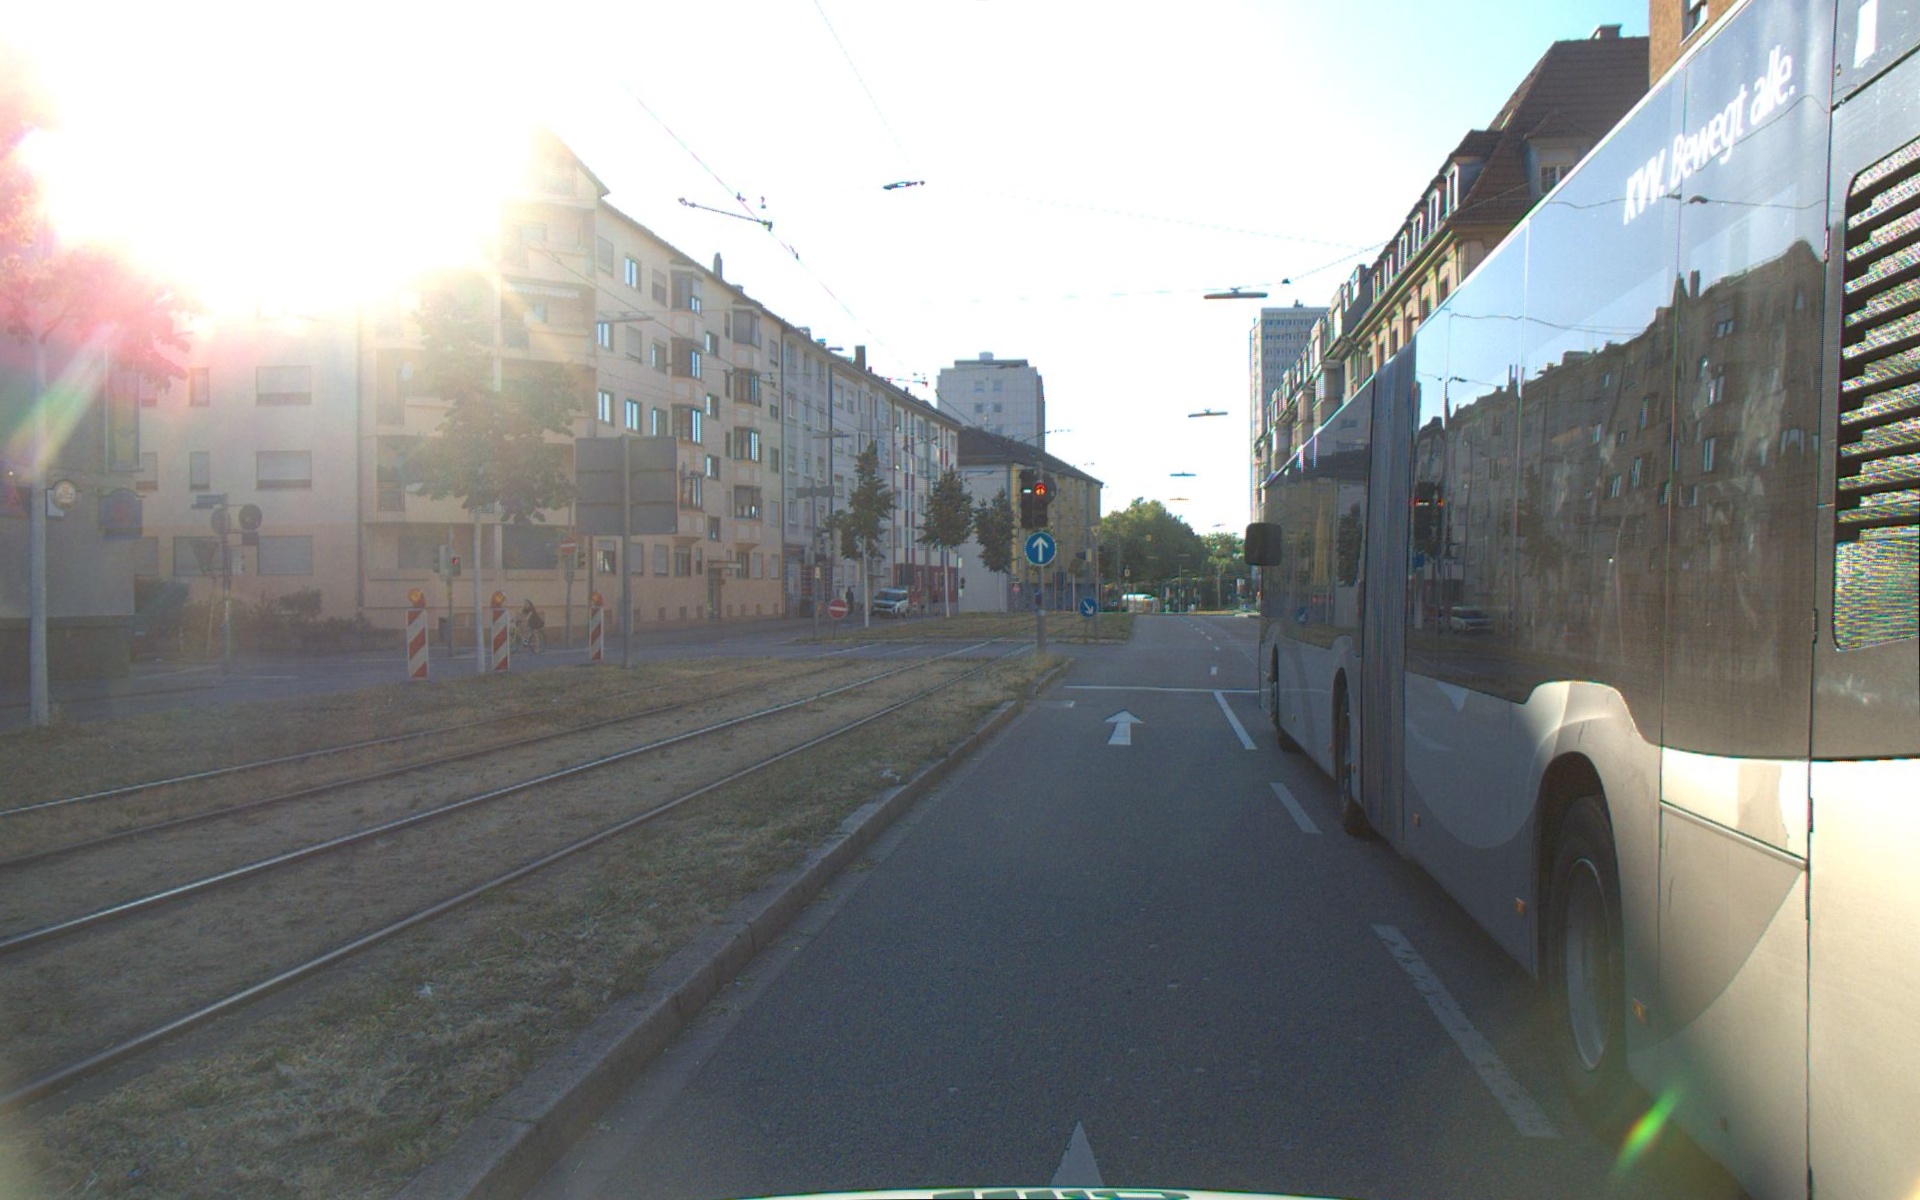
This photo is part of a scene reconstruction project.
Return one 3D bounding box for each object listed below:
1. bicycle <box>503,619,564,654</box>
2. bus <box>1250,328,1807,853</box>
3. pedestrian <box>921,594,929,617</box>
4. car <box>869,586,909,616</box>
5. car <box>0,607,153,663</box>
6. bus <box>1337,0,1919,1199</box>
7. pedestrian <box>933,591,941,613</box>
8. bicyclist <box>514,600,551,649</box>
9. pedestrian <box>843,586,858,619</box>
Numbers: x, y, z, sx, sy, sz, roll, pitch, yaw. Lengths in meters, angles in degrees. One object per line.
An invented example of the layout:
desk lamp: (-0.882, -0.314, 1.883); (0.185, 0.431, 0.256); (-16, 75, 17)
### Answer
bicycle: (-12.959, 1.095, 50.320); (0.519, 1.001, 1.875); (-1, 0, 37)
bus: (4.184, -0.100, 14.481); (2.680, 3.109, 9.138); (1, 0, 7)
pedestrian: (-2.624, 0.420, 123.918); (0.485, 1.687, 0.409); (-1, 0, 7)
car: (-4.545, 0.096, 106.168); (1.773, 1.829, 4.248); (1, 0, 8)
car: (-25.194, 0.973, 46.699); (3.879, 1.465, 1.789); (-1, 0, -3)
bus: (3.140, -0.066, 5.517); (2.680, 3.109, 8.860); (1, 0, 7)
pedestrian: (-1.734, 0.146, 124.109); (0.485, 1.687, 0.409); (-1, 0, 7)
bicyclist: (-12.997, 0.740, 50.299); (0.519, 1.472, 0.961); (-1, 0, 37)
pedestrian: (-6.820, 0.160, 102.931); (0.770, 2.049, 0.891); (0, 0, 3)
